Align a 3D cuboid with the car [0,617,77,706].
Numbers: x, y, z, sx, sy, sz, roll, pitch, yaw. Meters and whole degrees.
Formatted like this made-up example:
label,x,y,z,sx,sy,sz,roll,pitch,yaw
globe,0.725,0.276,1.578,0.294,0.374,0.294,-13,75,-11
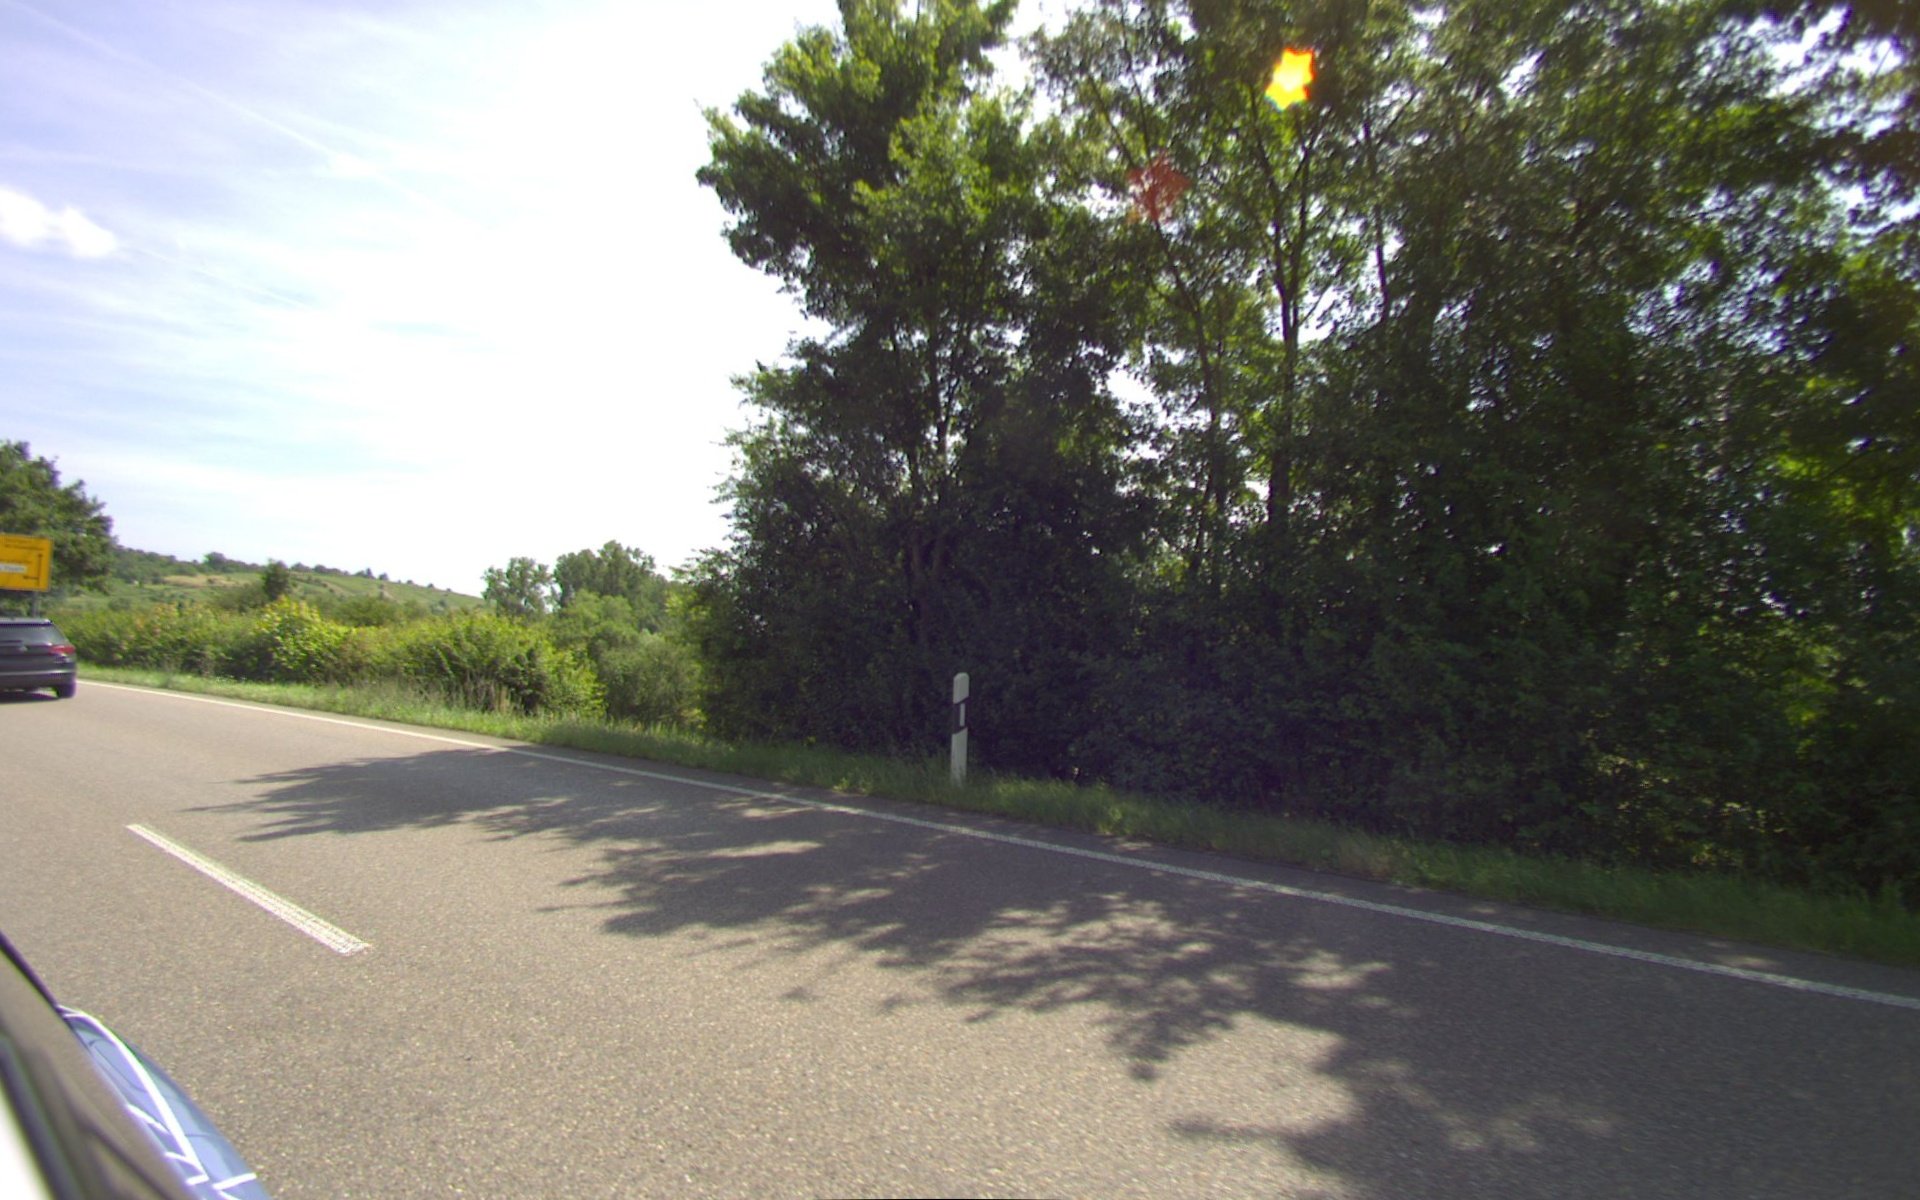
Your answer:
label,x,y,z,sx,sy,sz,roll,pitch,yaw
car,-17.807,1.067,18.517,4.369,1.482,1.693,-1,-1,38
